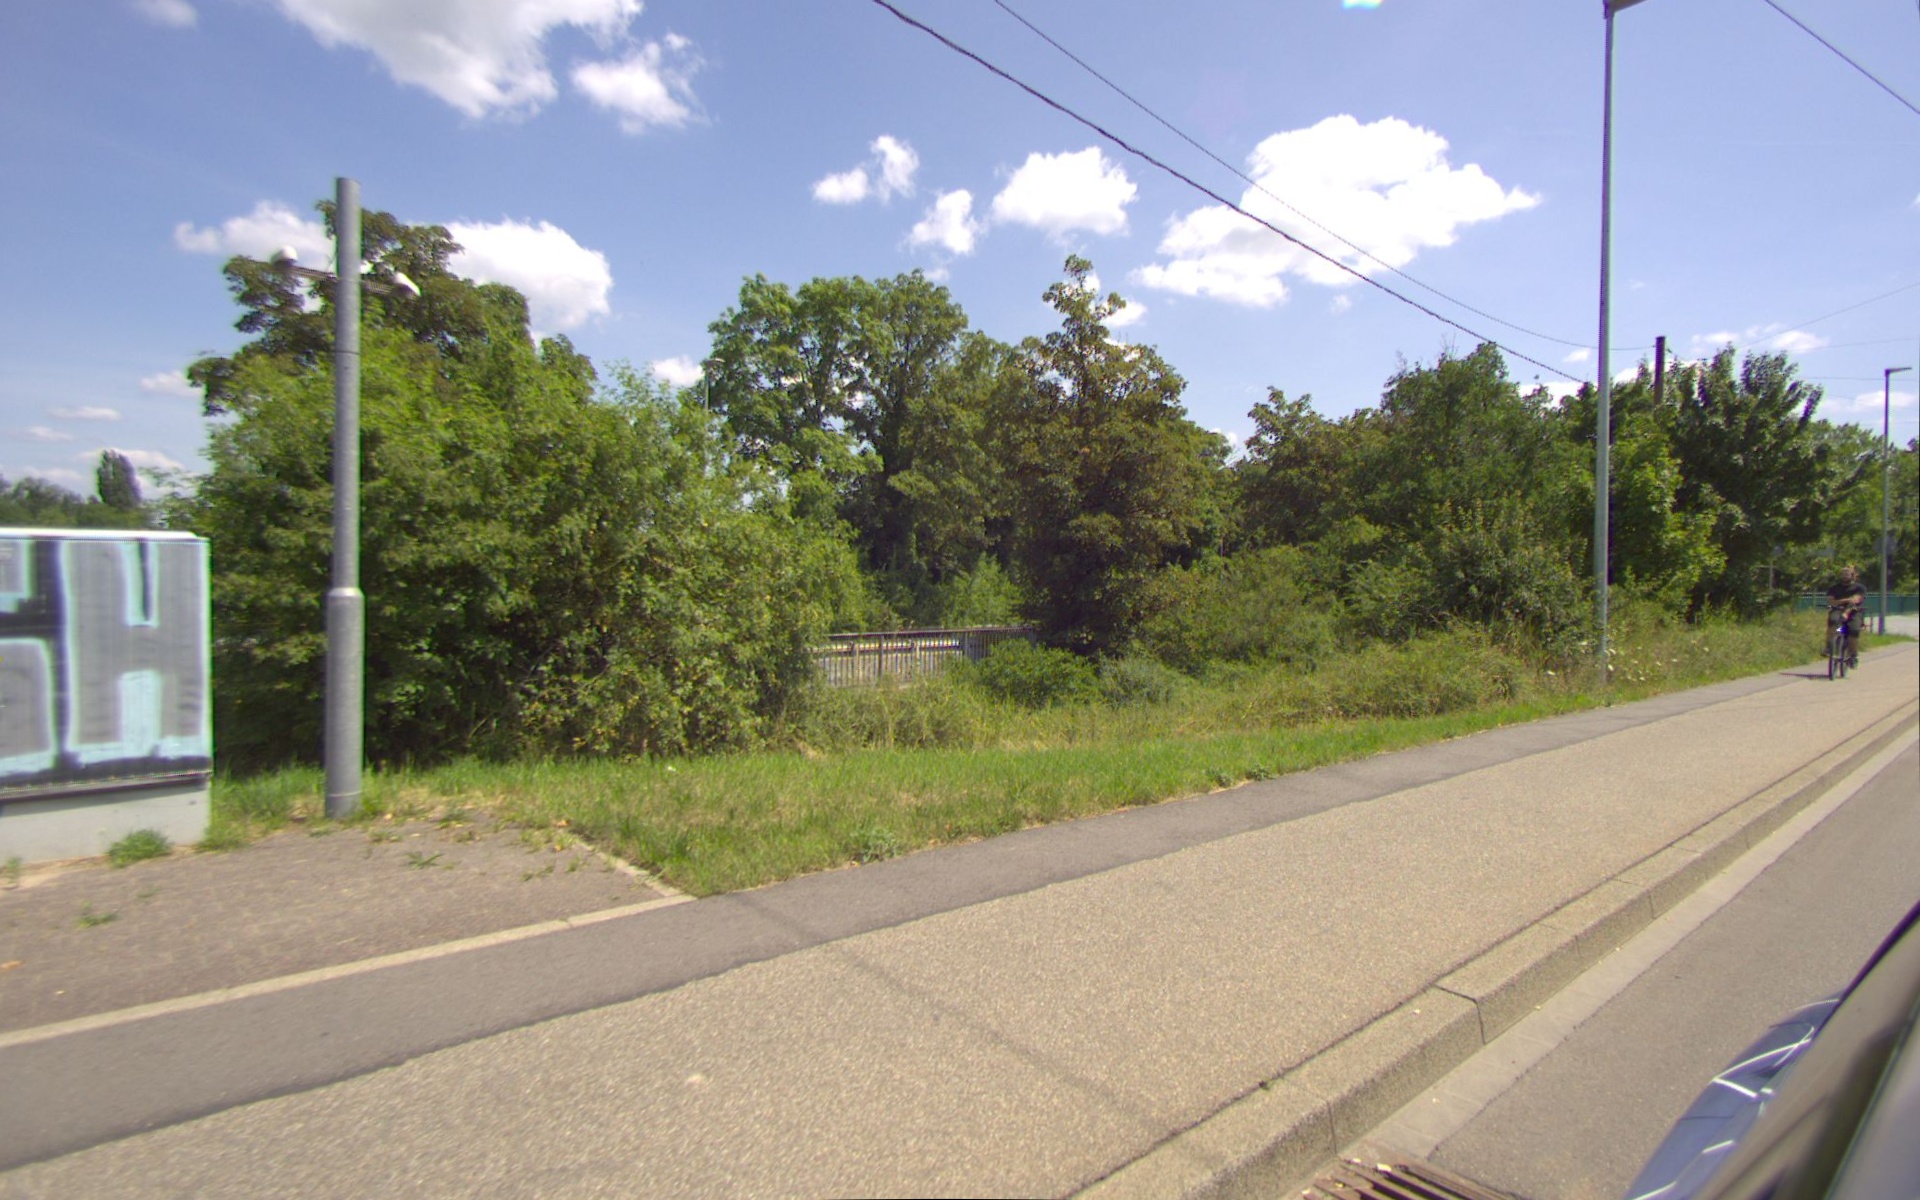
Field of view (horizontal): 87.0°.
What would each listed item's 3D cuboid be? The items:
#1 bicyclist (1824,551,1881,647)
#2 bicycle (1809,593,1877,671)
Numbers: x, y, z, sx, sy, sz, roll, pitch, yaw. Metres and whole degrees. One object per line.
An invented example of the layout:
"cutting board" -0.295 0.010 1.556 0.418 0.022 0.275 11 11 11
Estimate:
"bicyclist" 14.376 -0.015 16.307 0.547 1.514 0.587 1 -1 -36
"bicycle" 13.994 0.498 16.026 1.820 1.167 0.433 1 -1 -37
